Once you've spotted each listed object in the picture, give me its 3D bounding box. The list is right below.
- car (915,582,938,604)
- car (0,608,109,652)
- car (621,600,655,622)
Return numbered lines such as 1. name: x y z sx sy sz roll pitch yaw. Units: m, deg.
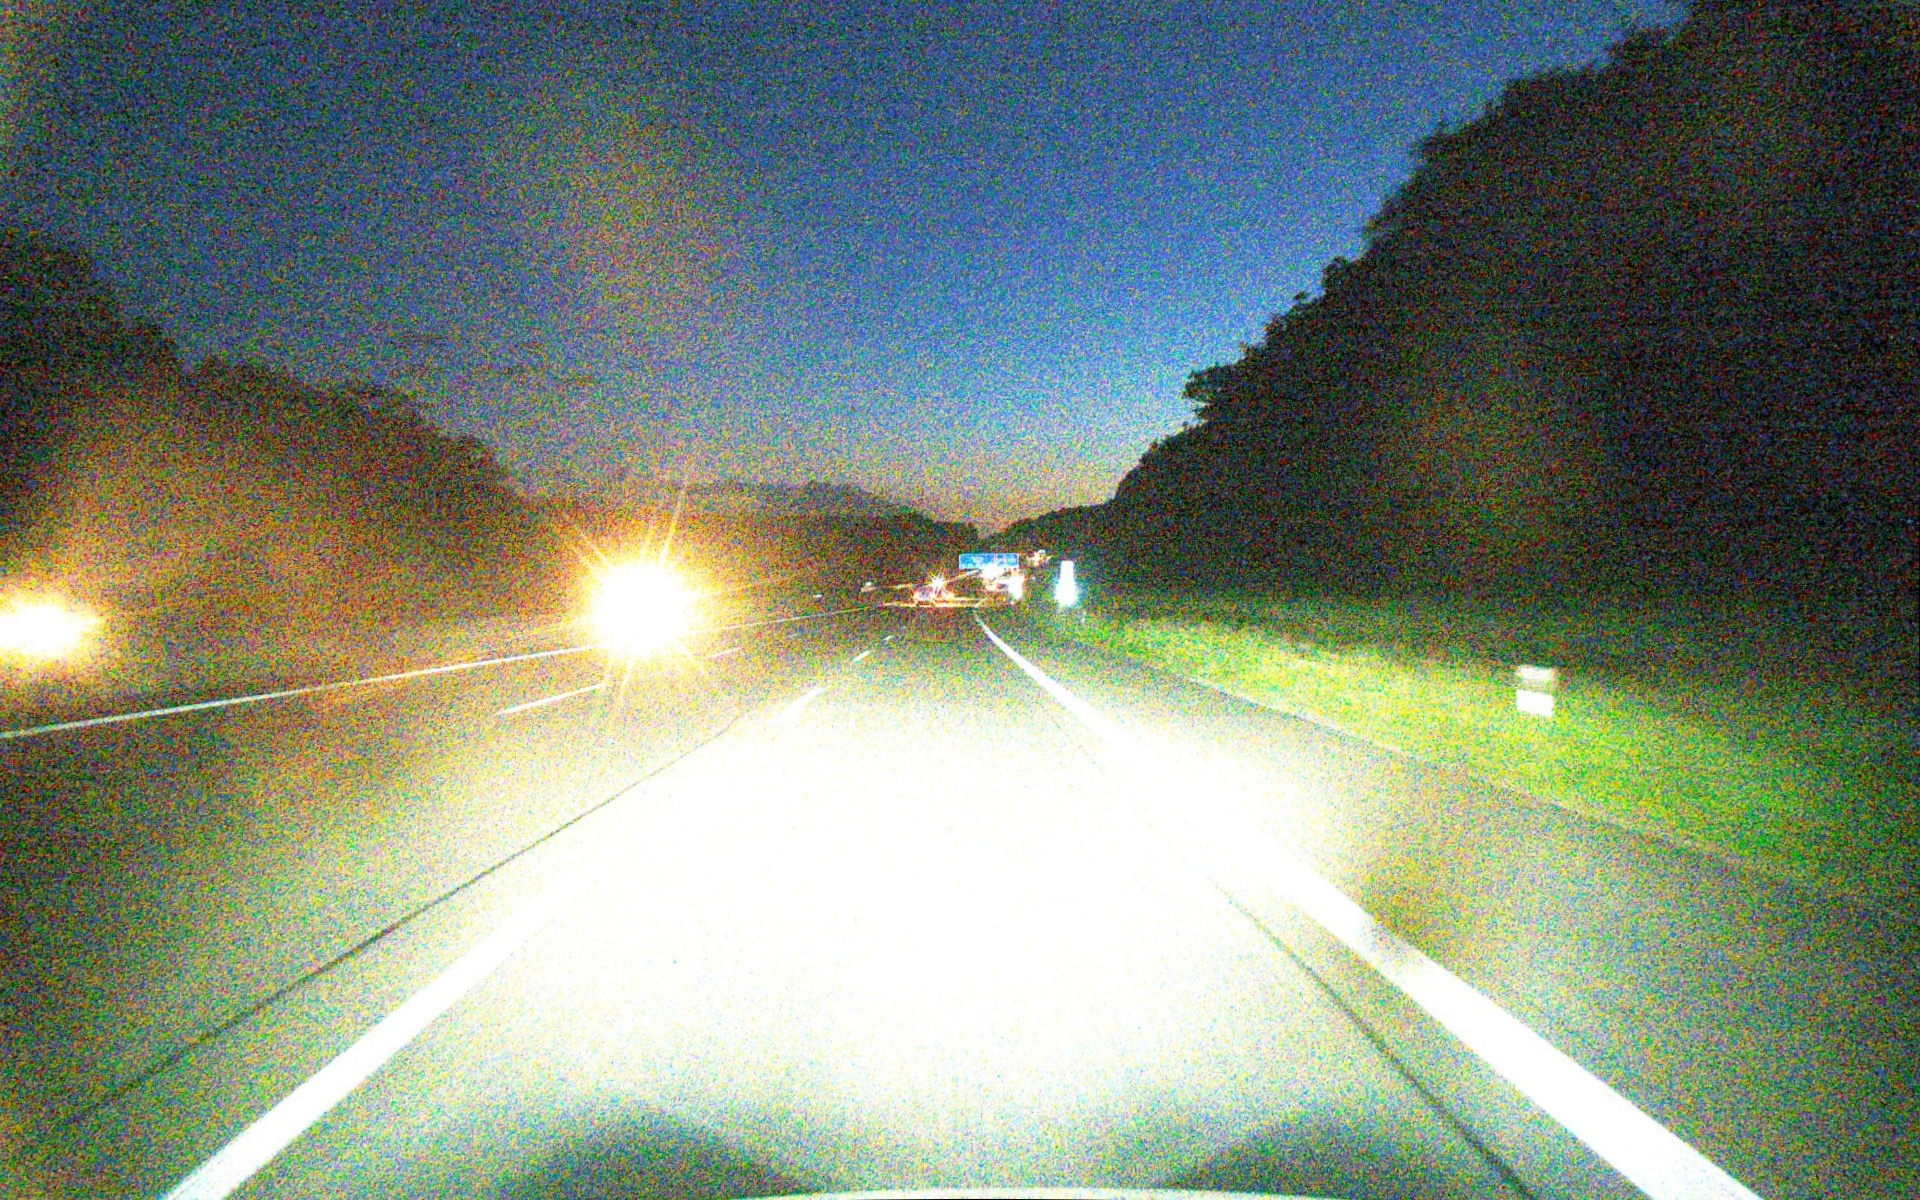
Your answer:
1. car: -3.665 -0.748 180.152 2.460 2.354 4.970 0 0 0
2. car: -28.310 0.900 51.674 1.560 1.287 3.997 0 0 -4
3. car: -19.843 0.651 102.044 1.560 1.287 3.997 0 0 -4
